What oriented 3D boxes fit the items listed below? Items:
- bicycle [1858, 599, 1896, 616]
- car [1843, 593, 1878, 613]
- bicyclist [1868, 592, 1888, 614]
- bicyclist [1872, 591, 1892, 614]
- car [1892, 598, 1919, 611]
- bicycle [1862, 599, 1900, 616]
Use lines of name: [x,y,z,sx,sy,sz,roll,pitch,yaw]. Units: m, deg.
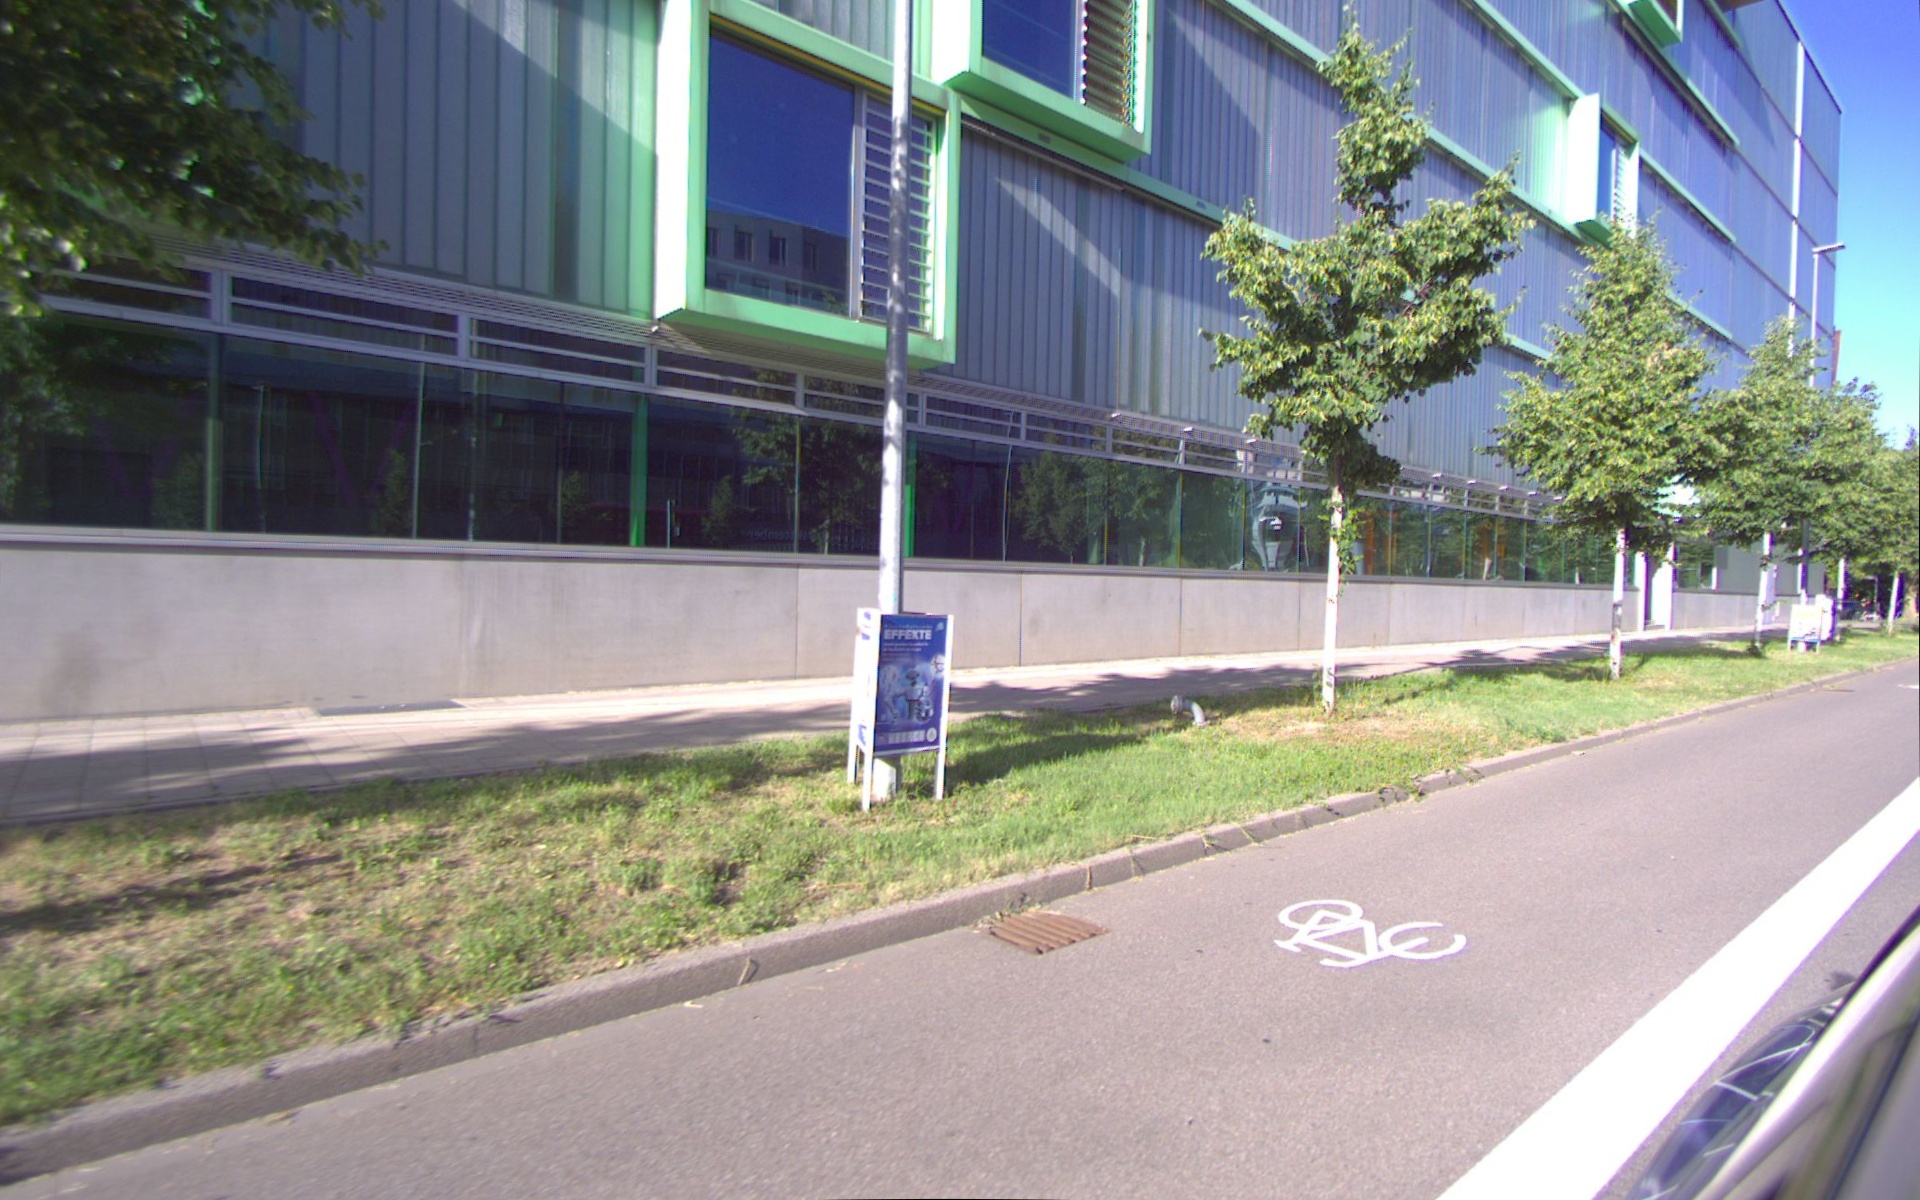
bicycle: [70.511,0.564,77.820,0.540,1.218,2.108,2,1,-25]
car: [99.158,0.375,111.409,4.977,2.061,1.899,0,3,-38]
bicyclist: [70.520,0.248,77.784,0.777,1.674,0.878,2,1,-28]
bicyclist: [71.311,0.207,78.239,0.815,1.759,0.878,2,1,-28]
car: [117.491,0.545,125.725,4.572,1.548,1.998,0,3,-41]
bicycle: [71.285,0.570,78.322,0.540,1.218,2.107,2,1,-28]
